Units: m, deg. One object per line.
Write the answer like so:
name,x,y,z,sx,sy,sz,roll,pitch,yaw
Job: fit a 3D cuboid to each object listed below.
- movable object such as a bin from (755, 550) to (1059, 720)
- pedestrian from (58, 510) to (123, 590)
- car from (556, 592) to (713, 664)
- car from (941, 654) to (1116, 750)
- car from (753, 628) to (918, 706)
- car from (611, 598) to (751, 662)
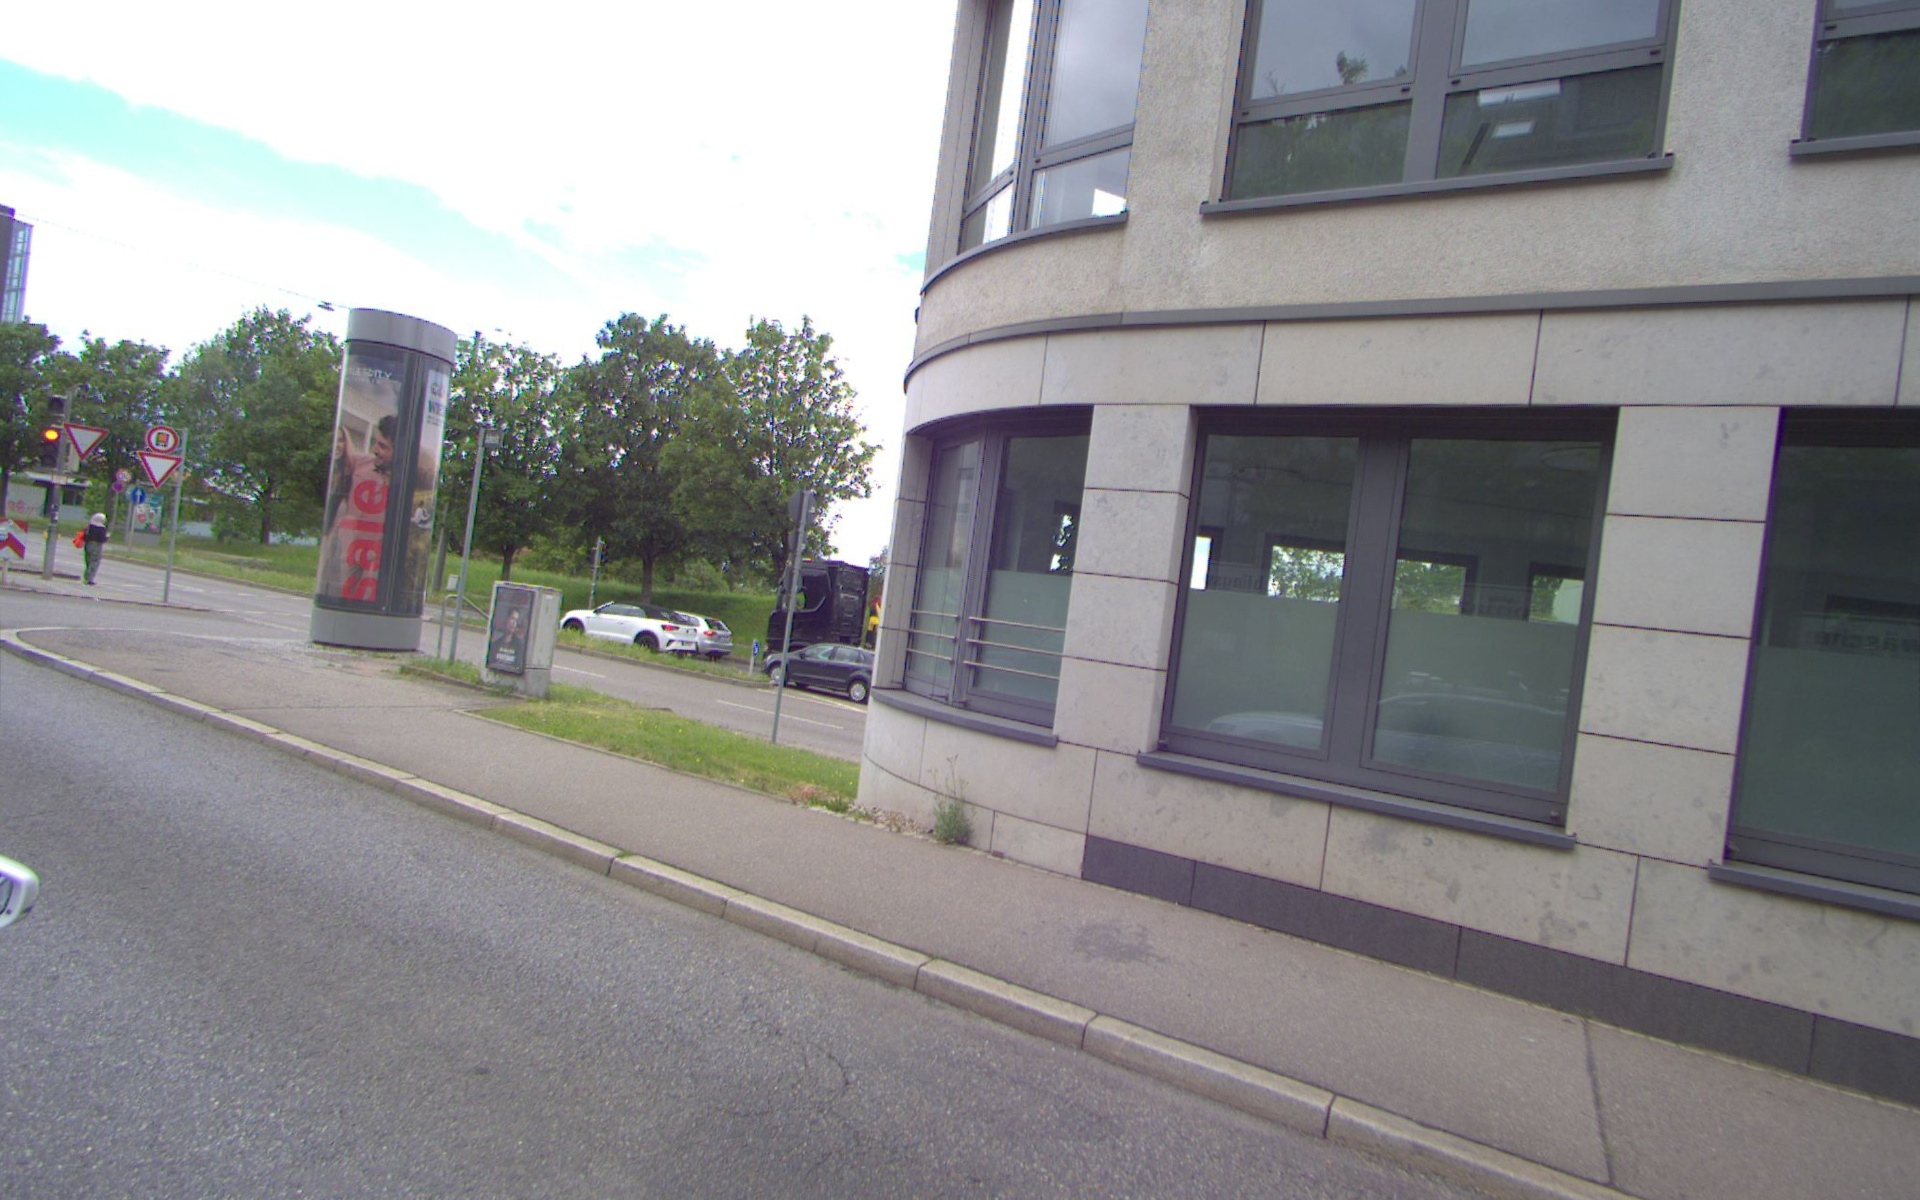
movable object such as a bin,-1.616,1.009,30.697,8.410,3.949,2.870,7,-1,18
pedestrian,-18.976,-1.073,21.973,0.564,1.602,0.739,9,-2,-8
car,-9.716,0.838,30.109,3.925,1.469,2.003,8,-3,19
car,1.796,2.594,25.846,3.925,1.723,2.003,8,-3,19
car,-3.419,1.866,27.867,3.925,1.469,2.003,8,-3,19
car,-9.323,1.025,33.737,3.925,1.469,2.003,8,-3,19
